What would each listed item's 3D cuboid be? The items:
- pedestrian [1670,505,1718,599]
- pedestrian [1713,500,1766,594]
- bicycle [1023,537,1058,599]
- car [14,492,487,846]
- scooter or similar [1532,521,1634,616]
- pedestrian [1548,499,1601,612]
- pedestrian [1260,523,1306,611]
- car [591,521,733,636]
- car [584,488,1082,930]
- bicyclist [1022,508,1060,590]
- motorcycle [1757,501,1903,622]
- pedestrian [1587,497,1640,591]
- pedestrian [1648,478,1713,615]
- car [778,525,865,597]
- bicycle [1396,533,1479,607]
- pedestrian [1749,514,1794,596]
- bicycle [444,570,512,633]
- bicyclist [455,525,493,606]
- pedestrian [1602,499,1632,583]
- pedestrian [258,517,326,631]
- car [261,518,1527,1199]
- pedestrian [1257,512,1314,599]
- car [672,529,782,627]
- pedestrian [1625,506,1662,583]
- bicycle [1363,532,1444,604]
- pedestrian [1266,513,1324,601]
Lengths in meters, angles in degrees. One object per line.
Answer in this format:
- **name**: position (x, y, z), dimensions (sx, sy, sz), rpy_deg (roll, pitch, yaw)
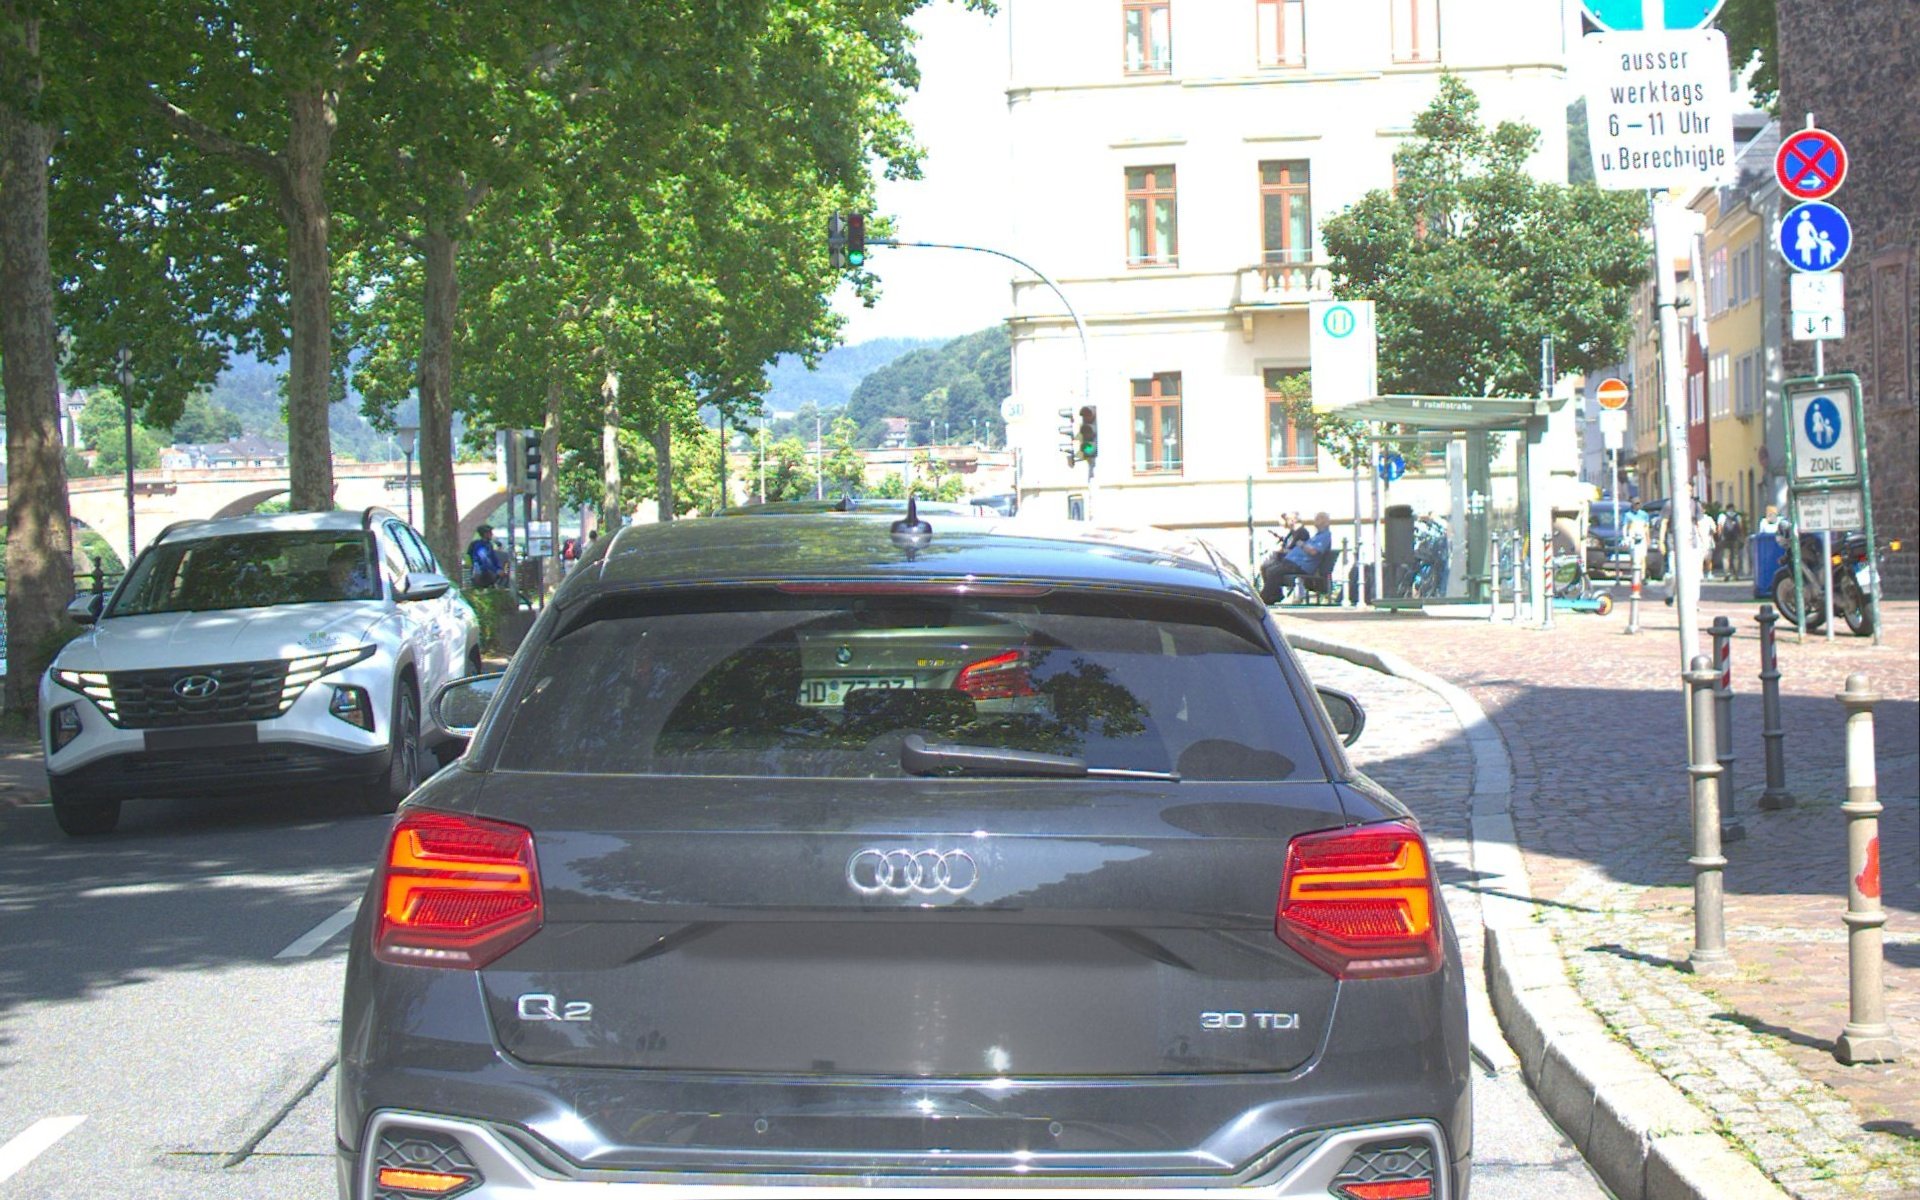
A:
- **pedestrian**: position (15.843, -1.043, 74.230), dimensions (0.839, 2.007, 0.738), rpy_deg (1, 0, 0)
- **pedestrian**: position (16.861, -1.149, 74.377), dimensions (0.940, 2.007, 0.807), rpy_deg (1, 0, 0)
- **bicycle**: position (1.432, -0.573, 61.521), dimensions (0.437, 1.082, 1.677), rpy_deg (1, 0, -5)
- **car**: position (-3.831, 0.307, 19.240), dimensions (1.769, 1.654, 4.000), rpy_deg (-4, 1, -1)
- **scooter or similar**: position (7.128, -0.361, 39.367), dimensions (1.088, 1.062, 0.323), rpy_deg (1, 0, -2)
- **pedestrian**: position (7.606, -0.549, 42.557), dimensions (0.557, 1.380, 0.588), rpy_deg (1, 0, 2)
- **pedestrian**: position (5.510, -0.564, 58.653), dimensions (0.693, 1.495, 0.514), rpy_deg (1, 0, -4)
- **car**: position (-4.524, -0.365, 52.664), dimensions (1.738, 1.566, 4.092), rpy_deg (-4, 1, 0)
- **car**: position (-0.483, 0.361, 14.244), dimensions (1.793, 1.589, 3.399), rpy_deg (1, 1, -1)
- **bicyclist**: position (1.449, -0.914, 61.526), dimensions (0.605, 1.445, 0.591), rpy_deg (1, 0, -5)
- **motorcycle**: position (7.596, -0.353, 30.118), dimensions (0.566, 1.009, 2.490), rpy_deg (-1, 1, -2)
- **pedestrian**: position (14.075, -1.210, 74.067), dimensions (0.944, 2.007, 0.807), rpy_deg (1, 0, 0)
- **pedestrian**: position (10.031, -0.745, 47.874), dimensions (0.747, 1.884, 0.752), rpy_deg (1, 0, 2)
- **car**: position (-3.522, -0.996, 88.261), dimensions (1.993, 1.800, 4.000), rpy_deg (1, 0, 1)
- **bicycle**: position (6.810, -0.424, 49.005), dimensions (1.201, 1.031, 0.179), rpy_deg (1, 0, -19)
- **pedestrian**: position (16.299, -0.910, 69.035), dimensions (0.691, 1.607, 0.890), rpy_deg (-2, 1, 22)
- **bicycle**: position (-7.828, 0.026, 55.843), dimensions (1.093, 1.003, 0.304), rpy_deg (0, 0, -7)
- **bicyclist**: position (-7.888, -0.564, 55.856), dimensions (0.566, 1.307, 0.552), rpy_deg (1, 0, -5)
- **pedestrian**: position (13.185, -1.186, 69.032), dimensions (0.449, 1.675, 0.466), rpy_deg (1, 0, -6)
- **pedestrian**: position (-10.640, -0.408, 54.793), dimensions (0.911, 1.805, 0.585), rpy_deg (1, -1, 4)
- **car**: position (-0.116, 0.611, 6.599), dimensions (1.743, 1.504, 3.647), rpy_deg (1, 1, -1)
- **pedestrian**: position (4.625, -0.634, 48.872), dimensions (0.663, 1.227, 0.641), rpy_deg (1, 0, -6)
- **car**: position (-4.717, -0.485, 70.049), dimensions (1.813, 1.719, 4.422), rpy_deg (-6, 1, 0)
- **pedestrian**: position (13.726, -1.116, 69.041), dimensions (0.622, 1.526, 0.466), rpy_deg (1, 0, -4)
- **bicycle**: position (6.401, -0.460, 49.581), dimensions (1.184, 1.012, 0.179), rpy_deg (1, 0, -19)
- **pedestrian**: position (4.685, -0.601, 48.106), dimensions (0.663, 1.207, 0.641), rpy_deg (1, 0, -6)
